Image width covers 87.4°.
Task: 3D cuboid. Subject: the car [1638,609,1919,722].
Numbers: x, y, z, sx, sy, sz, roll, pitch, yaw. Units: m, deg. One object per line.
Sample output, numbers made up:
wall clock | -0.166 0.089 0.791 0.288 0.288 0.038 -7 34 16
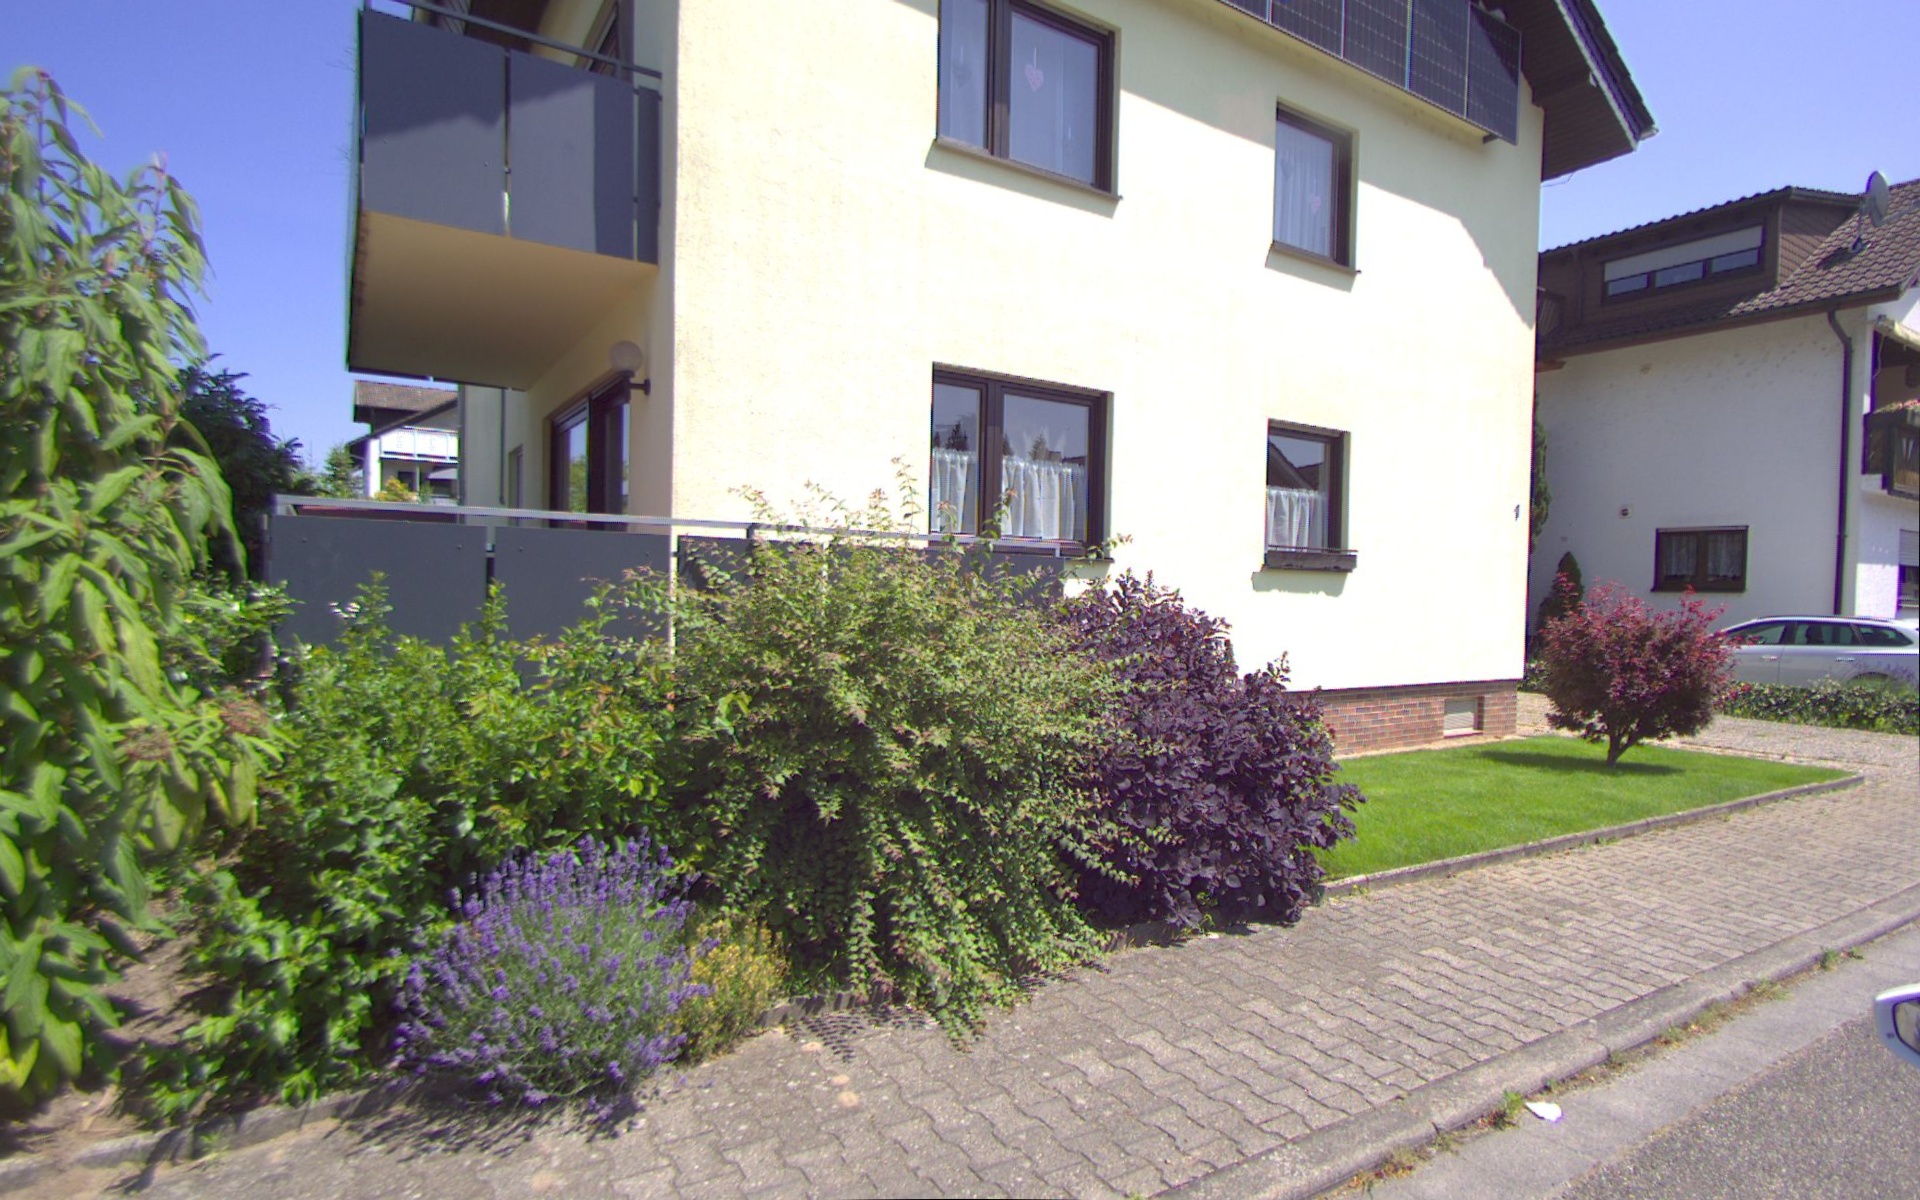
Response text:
car | 13.072 0.933 15.484 1.828 1.439 3.958 1 1 -37
